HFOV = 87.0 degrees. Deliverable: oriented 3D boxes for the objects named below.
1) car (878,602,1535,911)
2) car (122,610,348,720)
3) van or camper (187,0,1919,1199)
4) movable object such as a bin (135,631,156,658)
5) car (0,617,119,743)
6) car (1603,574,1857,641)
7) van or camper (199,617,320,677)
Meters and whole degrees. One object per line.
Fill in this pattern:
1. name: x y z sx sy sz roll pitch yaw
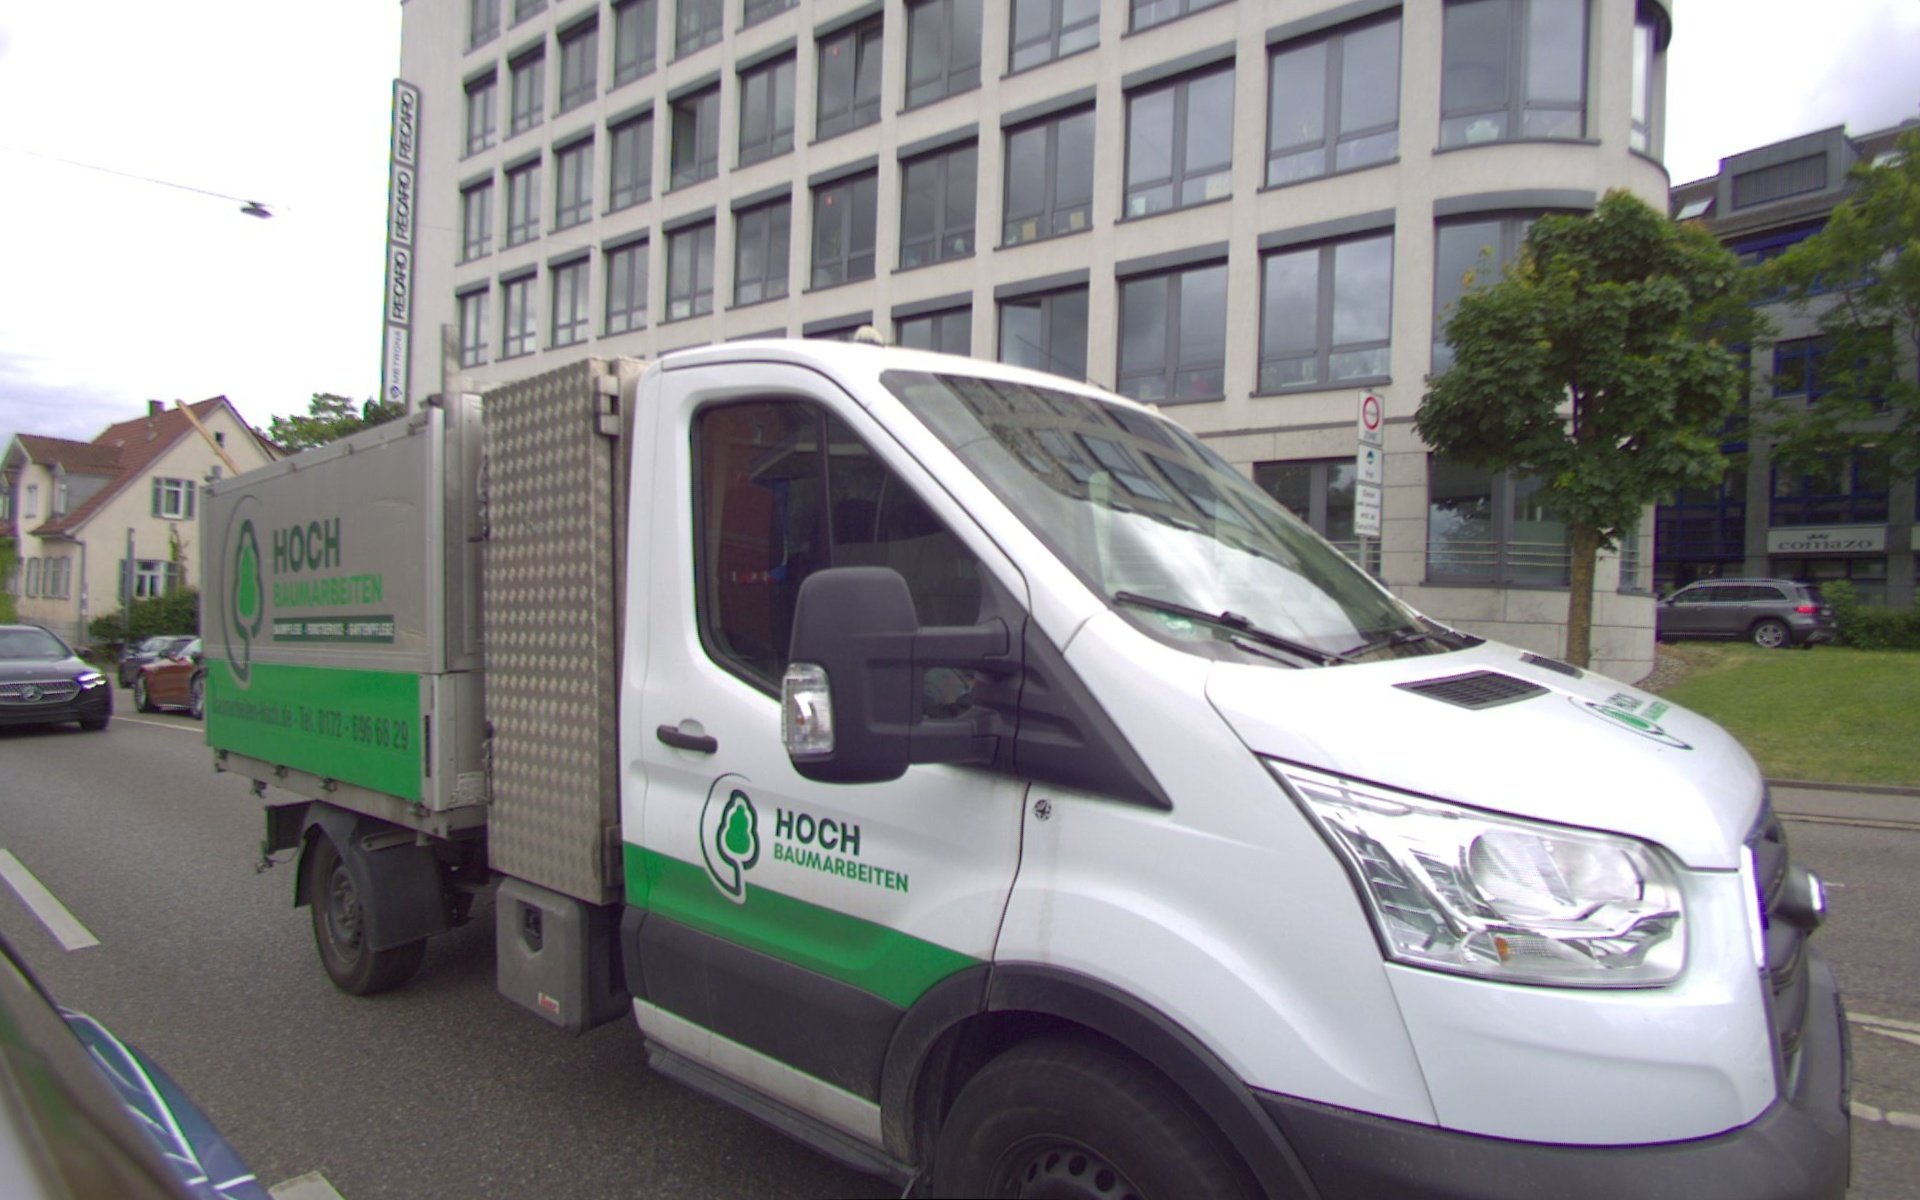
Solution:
1. car: 1.494 0.846 6.885 3.976 1.492 1.759 -1 -4 39
2. car: -12.007 1.057 16.682 4.277 1.583 1.754 -2 -5 37
3. van or camper: -0.438 0.144 3.479 5.961 2.682 2.319 0 0 40
4. movable object such as a bin: -36.692 2.016 45.588 0.602 1.198 0.572 -2 -2 30
5. car: -13.447 1.063 13.962 4.327 1.542 1.856 -2 -3 36
6. car: 18.504 0.215 24.559 1.649 1.474 4.584 -1 -1 -34
7. van or camper: -24.478 1.654 35.311 4.864 1.983 2.041 -3 -3 37
